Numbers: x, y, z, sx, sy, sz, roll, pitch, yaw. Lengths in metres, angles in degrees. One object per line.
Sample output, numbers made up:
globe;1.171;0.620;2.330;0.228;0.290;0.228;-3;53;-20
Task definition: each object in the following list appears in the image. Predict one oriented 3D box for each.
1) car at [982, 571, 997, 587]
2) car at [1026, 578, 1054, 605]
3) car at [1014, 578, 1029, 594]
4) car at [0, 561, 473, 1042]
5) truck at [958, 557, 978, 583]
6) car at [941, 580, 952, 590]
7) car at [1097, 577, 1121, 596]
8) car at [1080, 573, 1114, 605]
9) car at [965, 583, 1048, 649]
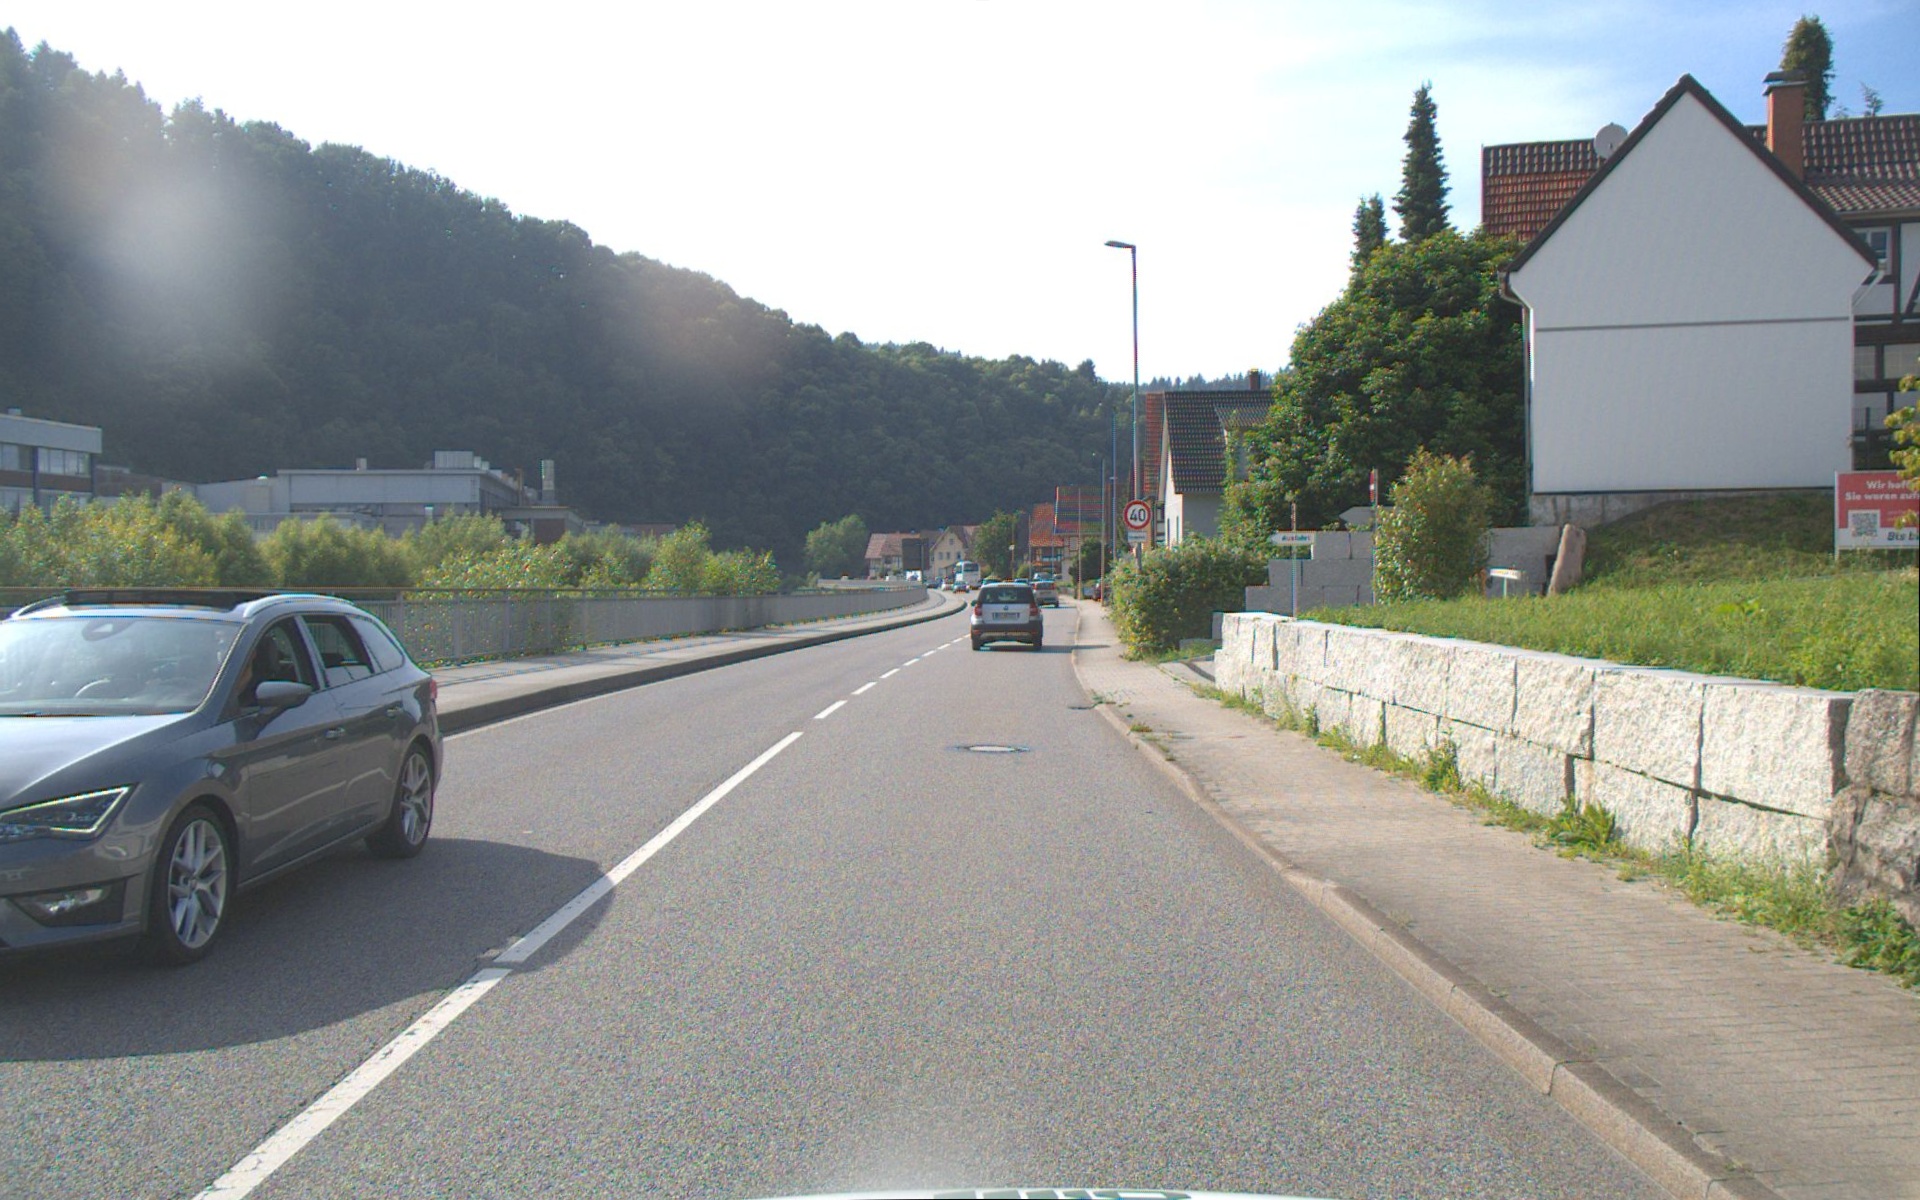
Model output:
car;3.460;-2.412;192.472;1.639;1.783;3.450;0;2;4
car;4.789;-0.485;98.885;1.588;1.568;3.279;0;0;3
car;5.371;-1.237;144.795;1.336;1.300;3.083;0;0;1
car;-3.816;0.655;7.589;1.776;1.510;4.797;0;0;-1
truck;1.094;-4.026;223.890;2.673;3.433;6.479;0;2;0
car;-1.798;-1.975;219.445;1.336;1.300;3.083;0;0;0
car;10.080;-0.875;111.646;1.511;1.238;3.279;0;0;6
car;7.298;-0.562;88.022;1.575;1.674;3.653;-1;0;8
car;1.234;0.375;41.867;1.821;1.571;4.376;0;0;5
